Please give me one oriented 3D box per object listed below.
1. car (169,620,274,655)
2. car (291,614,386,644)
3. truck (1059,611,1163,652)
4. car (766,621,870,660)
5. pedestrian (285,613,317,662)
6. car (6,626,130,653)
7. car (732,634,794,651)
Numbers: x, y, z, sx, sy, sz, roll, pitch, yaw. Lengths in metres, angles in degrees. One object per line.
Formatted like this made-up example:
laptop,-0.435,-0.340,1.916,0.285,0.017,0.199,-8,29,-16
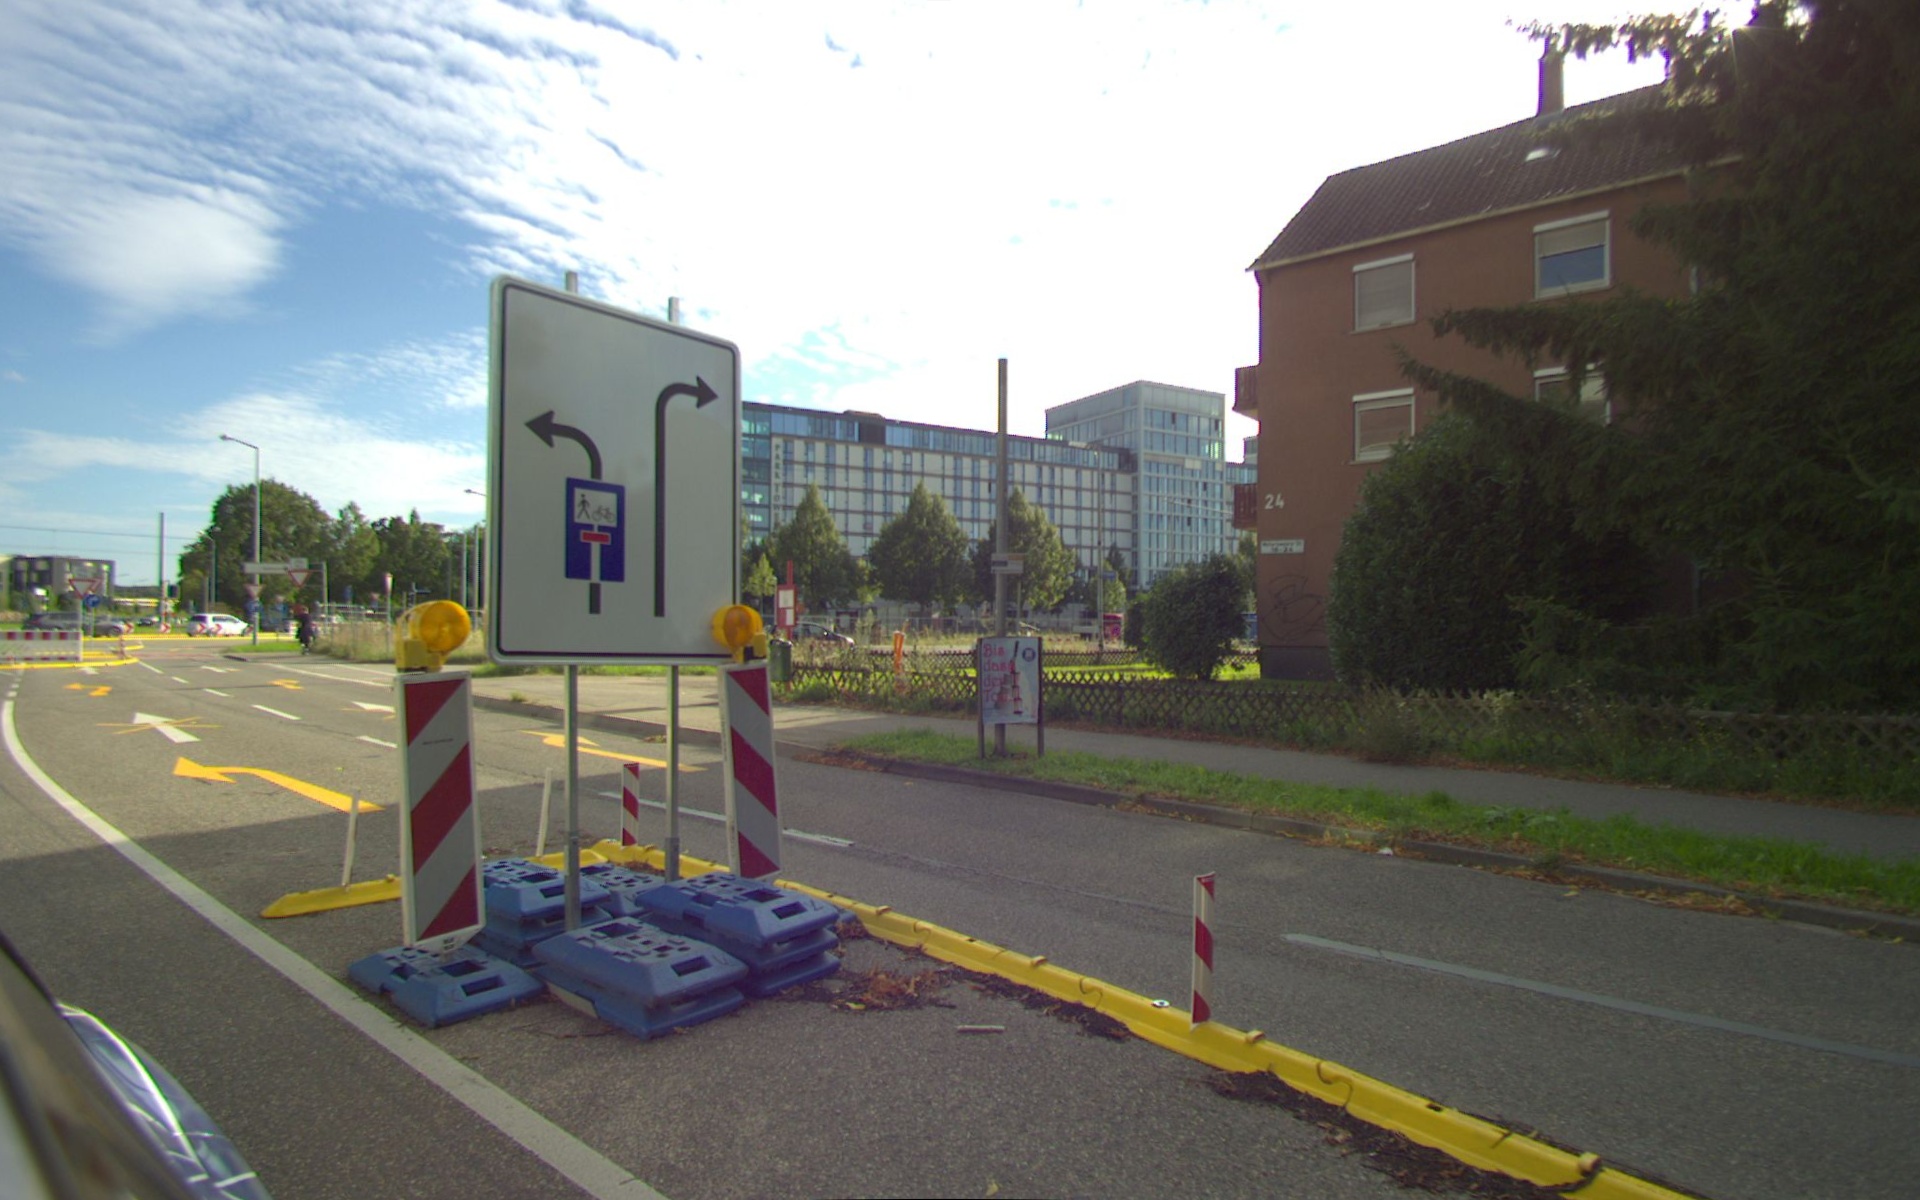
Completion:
car,-47.299,2.331,65.014,2.447,2.074,5.493,0,0,6
car,-45.409,2.056,74.137,2.456,2.074,5.775,0,0,16
truck,11.225,2.269,76.136,3.306,2.875,8.136,0,-1,-32
car,-6.384,1.818,45.724,4.357,1.670,1.997,0,-1,4
pedestrian,-24.665,1.395,37.878,0.739,1.838,0.705,-1,-1,20
car,-49.135,2.150,55.894,1.985,1.362,4.780,0,-1,20
car,-16.419,3.543,84.365,4.729,1.362,2.006,1,-2,-29
